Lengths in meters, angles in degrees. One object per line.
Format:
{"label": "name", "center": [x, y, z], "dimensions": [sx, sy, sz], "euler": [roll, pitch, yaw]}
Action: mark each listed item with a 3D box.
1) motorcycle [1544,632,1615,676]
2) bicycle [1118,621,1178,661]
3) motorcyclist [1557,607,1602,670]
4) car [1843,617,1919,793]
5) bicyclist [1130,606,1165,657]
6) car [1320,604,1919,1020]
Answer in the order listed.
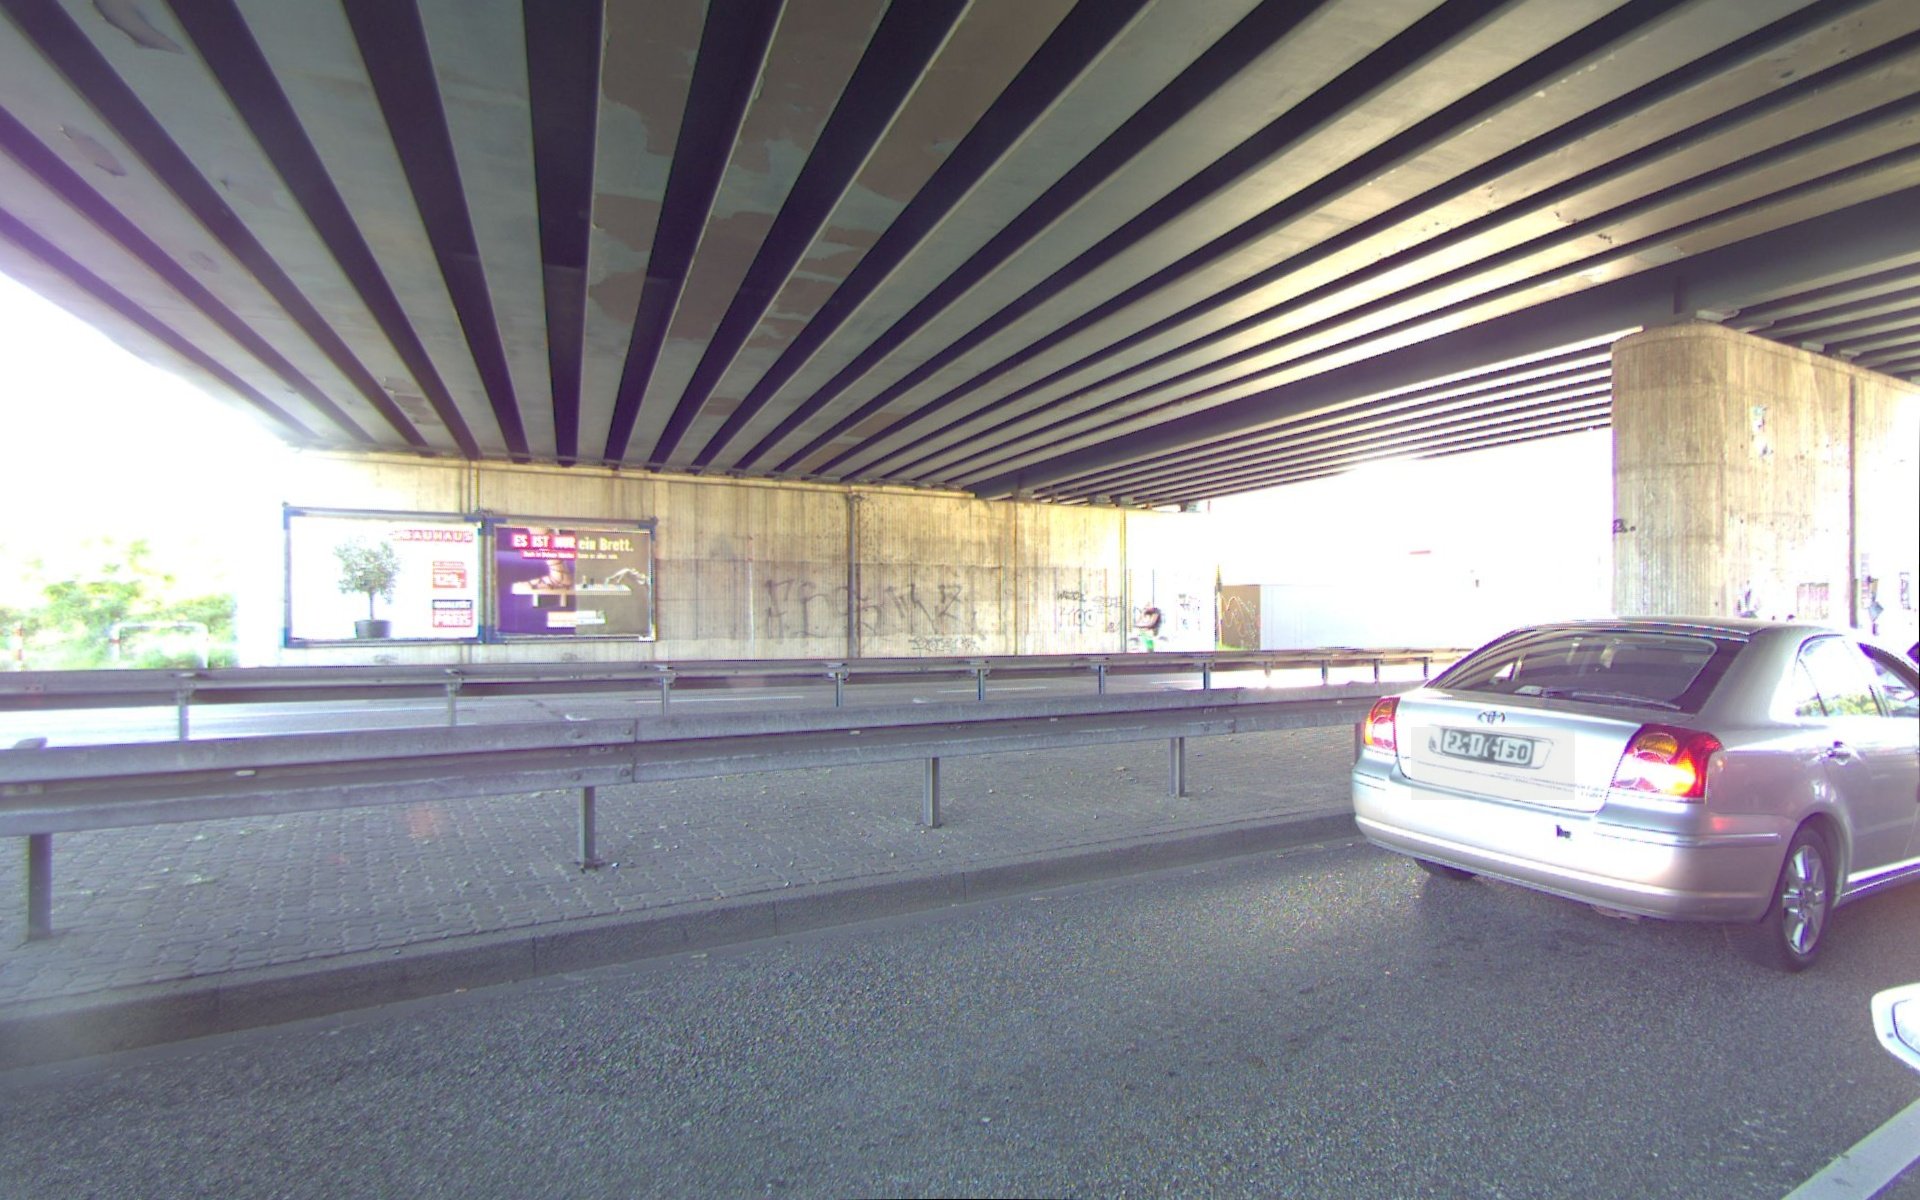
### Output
{"label": "motorcycle", "center": [15.741, 1.365, 25.502], "dimensions": [1.985, 1.041, 0.689], "euler": [0, 0, -30]}
{"label": "bicycle", "center": [5.880, 1.282, 31.391], "dimensions": [1.856, 1.181, 0.631], "euler": [2, 0, -30]}
{"label": "motorcyclist", "center": [15.710, 0.956, 25.463], "dimensions": [0.690, 1.548, 0.693], "euler": [0, 1, -30]}
{"label": "car", "center": [9.626, 0.900, 8.891], "dimensions": [3.770, 1.429, 1.683], "euler": [1, 0, -32]}
{"label": "bicyclist", "center": [5.842, 0.990, 31.362], "dimensions": [0.827, 1.545, 0.624], "euler": [2, 0, -30]}
{"label": "car", "center": [4.113, 0.803, 5.464], "dimensions": [4.347, 1.474, 1.688], "euler": [1, 0, -31]}
